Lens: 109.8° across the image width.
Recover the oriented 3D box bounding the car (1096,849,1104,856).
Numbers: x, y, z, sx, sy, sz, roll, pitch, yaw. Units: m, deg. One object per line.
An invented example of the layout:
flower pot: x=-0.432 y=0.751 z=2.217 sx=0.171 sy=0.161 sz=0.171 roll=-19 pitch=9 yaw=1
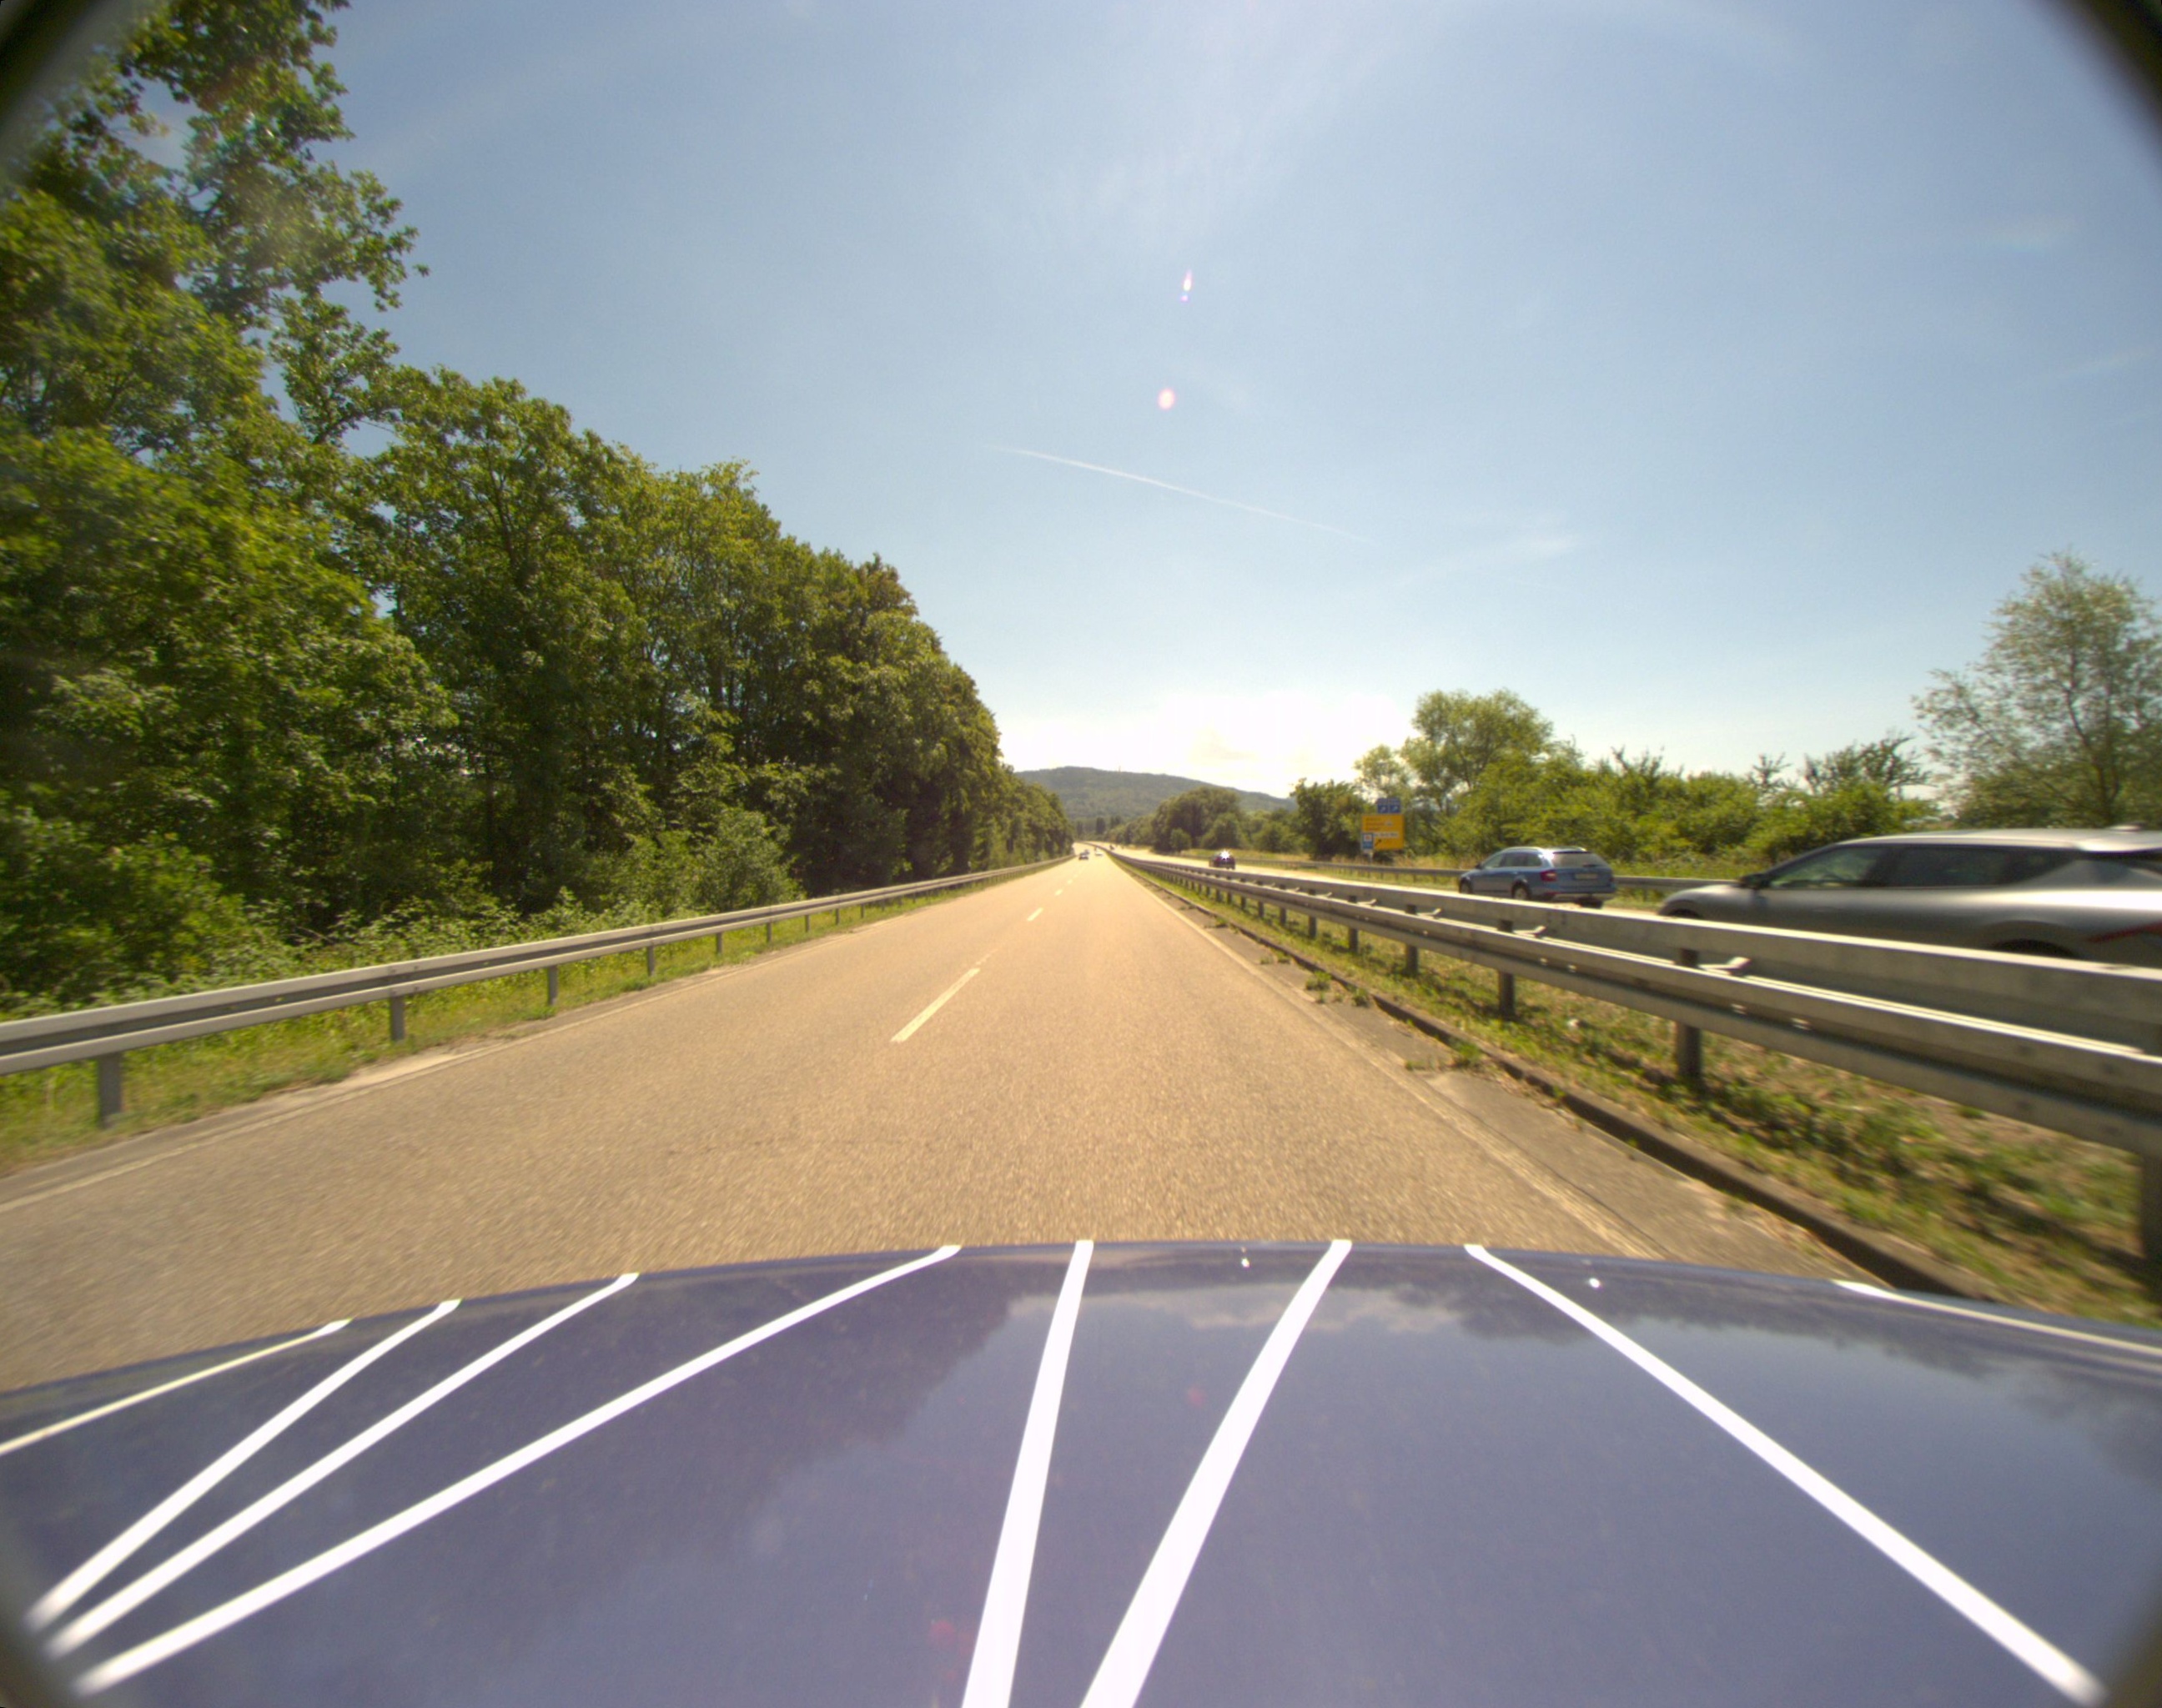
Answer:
car: x=4.899 y=-0.345 z=197.061 sx=1.908 sy=1.687 sz=3.890 roll=-3 pitch=2 yaw=4

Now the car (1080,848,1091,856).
car: x=0.955 y=-0.345 z=149.096 sx=1.908 sy=1.368 sz=3.890 roll=-3 pitch=2 yaw=4

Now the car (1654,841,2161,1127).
car: x=7.144 y=0.720 z=5.903 sx=1.998 sy=1.622 sz=4.552 roll=0 pitch=0 yaw=1

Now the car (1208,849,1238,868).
car: x=12.070 y=0.341 z=64.989 sx=1.784 sy=1.611 sz=4.505 roll=0 pitch=1 yaw=1

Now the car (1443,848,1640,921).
car: x=10.950 y=0.629 z=18.583 sx=1.817 sy=1.534 sz=4.928 roll=0 pitch=0 yaw=0
